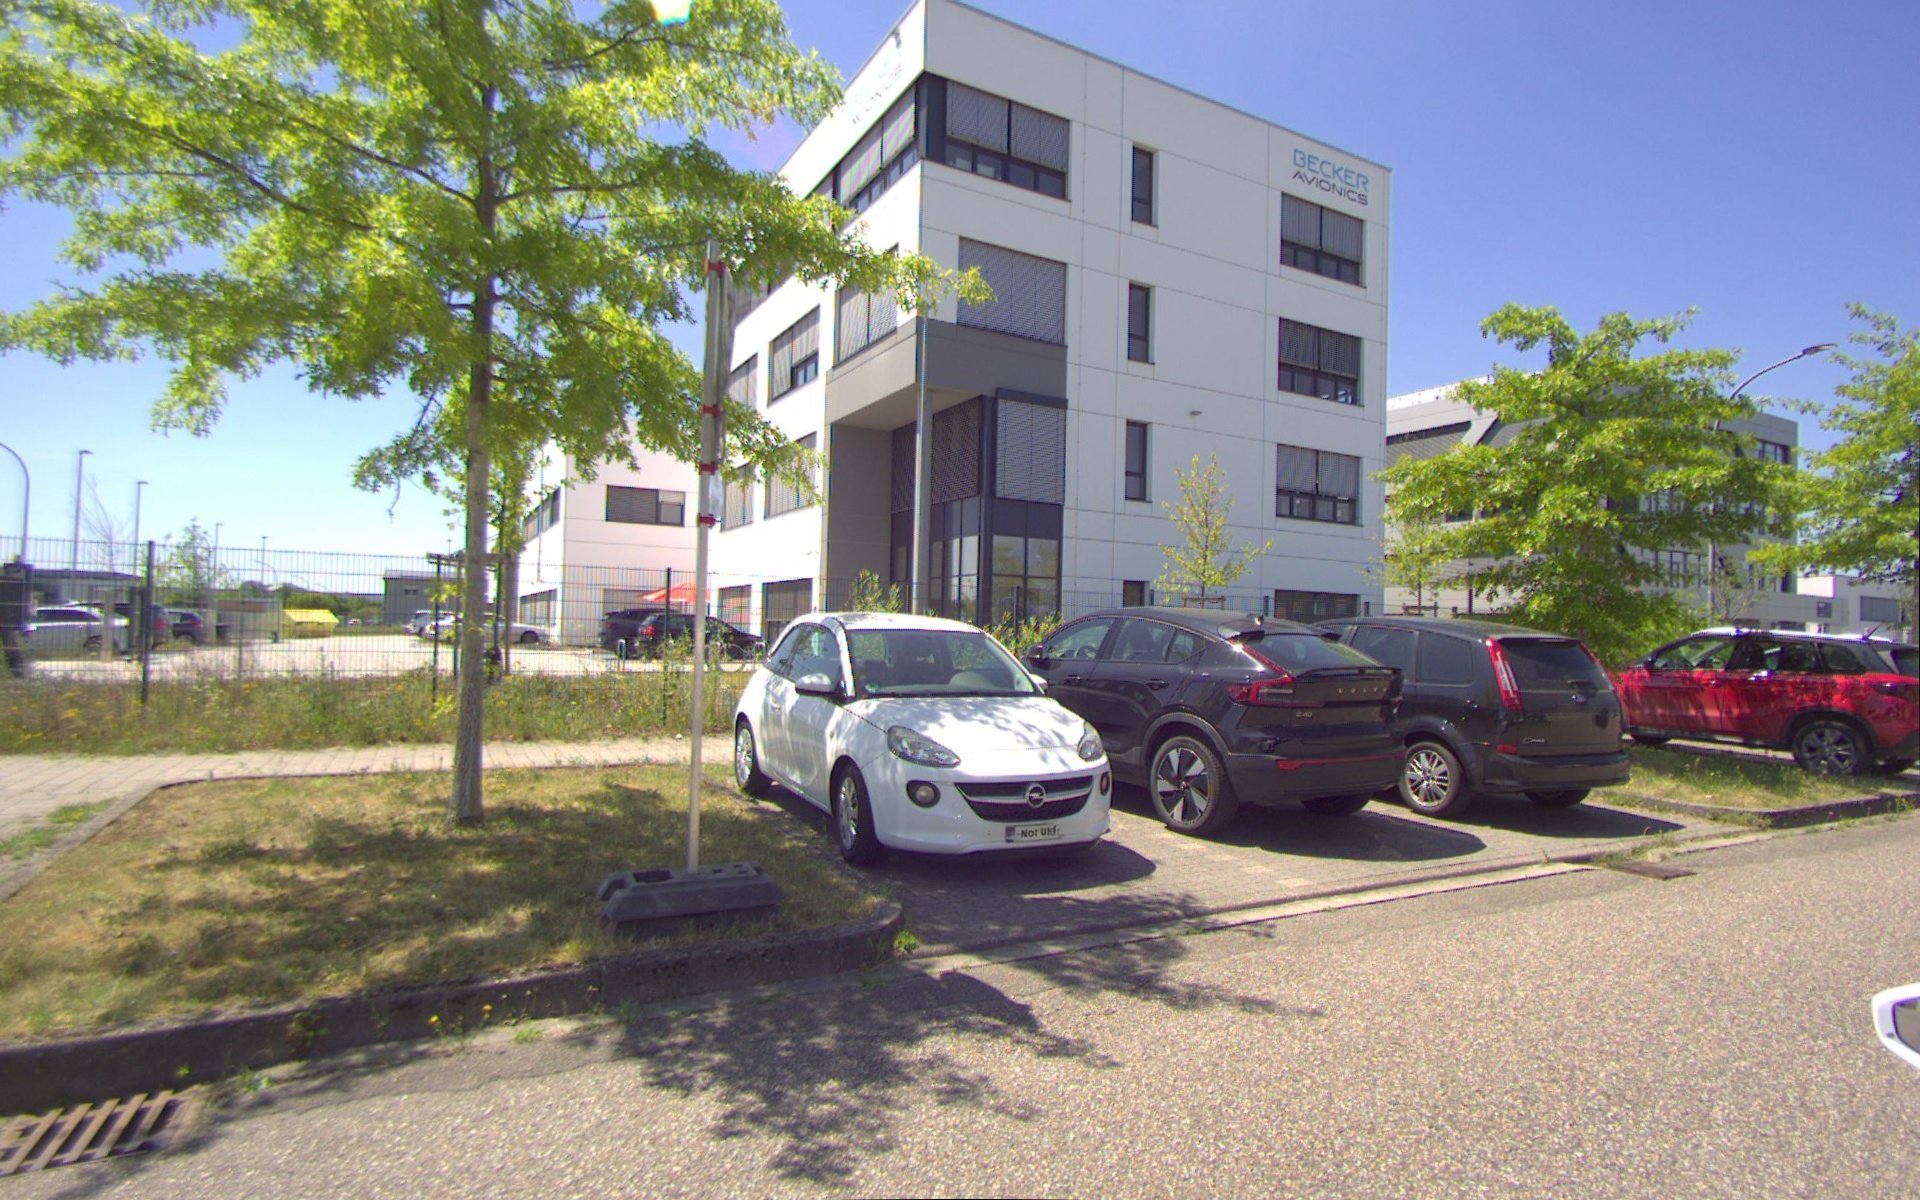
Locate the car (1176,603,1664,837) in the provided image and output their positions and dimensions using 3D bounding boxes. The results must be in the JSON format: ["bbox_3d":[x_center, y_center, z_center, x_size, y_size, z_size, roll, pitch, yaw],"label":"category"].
[{"bbox_3d":[3.996,0.906,9.413,1.706,1.613,3.890,2,0,-28],"label":"car"}]

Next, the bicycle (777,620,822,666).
[{"bbox_3d":[-3.696,0.976,23.052,0.456,0.995,1.584,2,-2,-30],"label":"bicycle"}]

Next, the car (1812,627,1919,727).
[{"bbox_3d":[17.435,1.388,17.109,1.706,1.656,4.099,2,0,-29],"label":"car"}]

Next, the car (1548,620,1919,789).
[{"bbox_3d":[9.708,1.135,12.440,1.707,1.613,3.820,2,0,-30],"label":"car"}]

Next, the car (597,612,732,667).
[{"bbox_3d":[-9.768,1.310,33.230,3.953,1.706,1.768,2,-2,-30],"label":"car"}]

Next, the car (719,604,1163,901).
[{"bbox_3d":[-0.382,0.820,7.128,1.706,1.460,3.489,2,0,-28],"label":"car"}]

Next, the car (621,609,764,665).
[{"bbox_3d":[-8.279,1.165,31.178,3.953,1.623,1.768,2,-2,-30],"label":"car"}]

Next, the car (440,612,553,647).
[{"bbox_3d":[-19.977,1.286,43.328,4.287,1.357,1.768,2,-2,-30],"label":"car"}]

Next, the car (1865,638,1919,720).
[{"bbox_3d":[19.340,1.546,18.008,1.707,1.493,4.290,2,0,-30],"label":"car"}]

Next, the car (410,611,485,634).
[{"bbox_3d":[-32.045,1.424,62.822,4.115,1.357,1.768,2,-2,-30],"label":"car"}]

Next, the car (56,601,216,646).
[{"bbox_3d":[-30.801,0.901,37.736,4.351,1.534,1.687,2,-2,-29],"label":"car"}]

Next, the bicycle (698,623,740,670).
[{"bbox_3d":[-5.351,1.007,22.234,0.456,0.995,1.584,2,-2,-30],"label":"bicycle"}]

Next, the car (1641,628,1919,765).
[{"bbox_3d":[12.087,1.254,13.809,1.783,1.533,4.157,1,1,-26],"label":"car"}]

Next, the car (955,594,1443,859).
[{"bbox_3d":[1.729,0.820,8.452,1.809,1.614,3.818,2,0,-31],"label":"car"}]
